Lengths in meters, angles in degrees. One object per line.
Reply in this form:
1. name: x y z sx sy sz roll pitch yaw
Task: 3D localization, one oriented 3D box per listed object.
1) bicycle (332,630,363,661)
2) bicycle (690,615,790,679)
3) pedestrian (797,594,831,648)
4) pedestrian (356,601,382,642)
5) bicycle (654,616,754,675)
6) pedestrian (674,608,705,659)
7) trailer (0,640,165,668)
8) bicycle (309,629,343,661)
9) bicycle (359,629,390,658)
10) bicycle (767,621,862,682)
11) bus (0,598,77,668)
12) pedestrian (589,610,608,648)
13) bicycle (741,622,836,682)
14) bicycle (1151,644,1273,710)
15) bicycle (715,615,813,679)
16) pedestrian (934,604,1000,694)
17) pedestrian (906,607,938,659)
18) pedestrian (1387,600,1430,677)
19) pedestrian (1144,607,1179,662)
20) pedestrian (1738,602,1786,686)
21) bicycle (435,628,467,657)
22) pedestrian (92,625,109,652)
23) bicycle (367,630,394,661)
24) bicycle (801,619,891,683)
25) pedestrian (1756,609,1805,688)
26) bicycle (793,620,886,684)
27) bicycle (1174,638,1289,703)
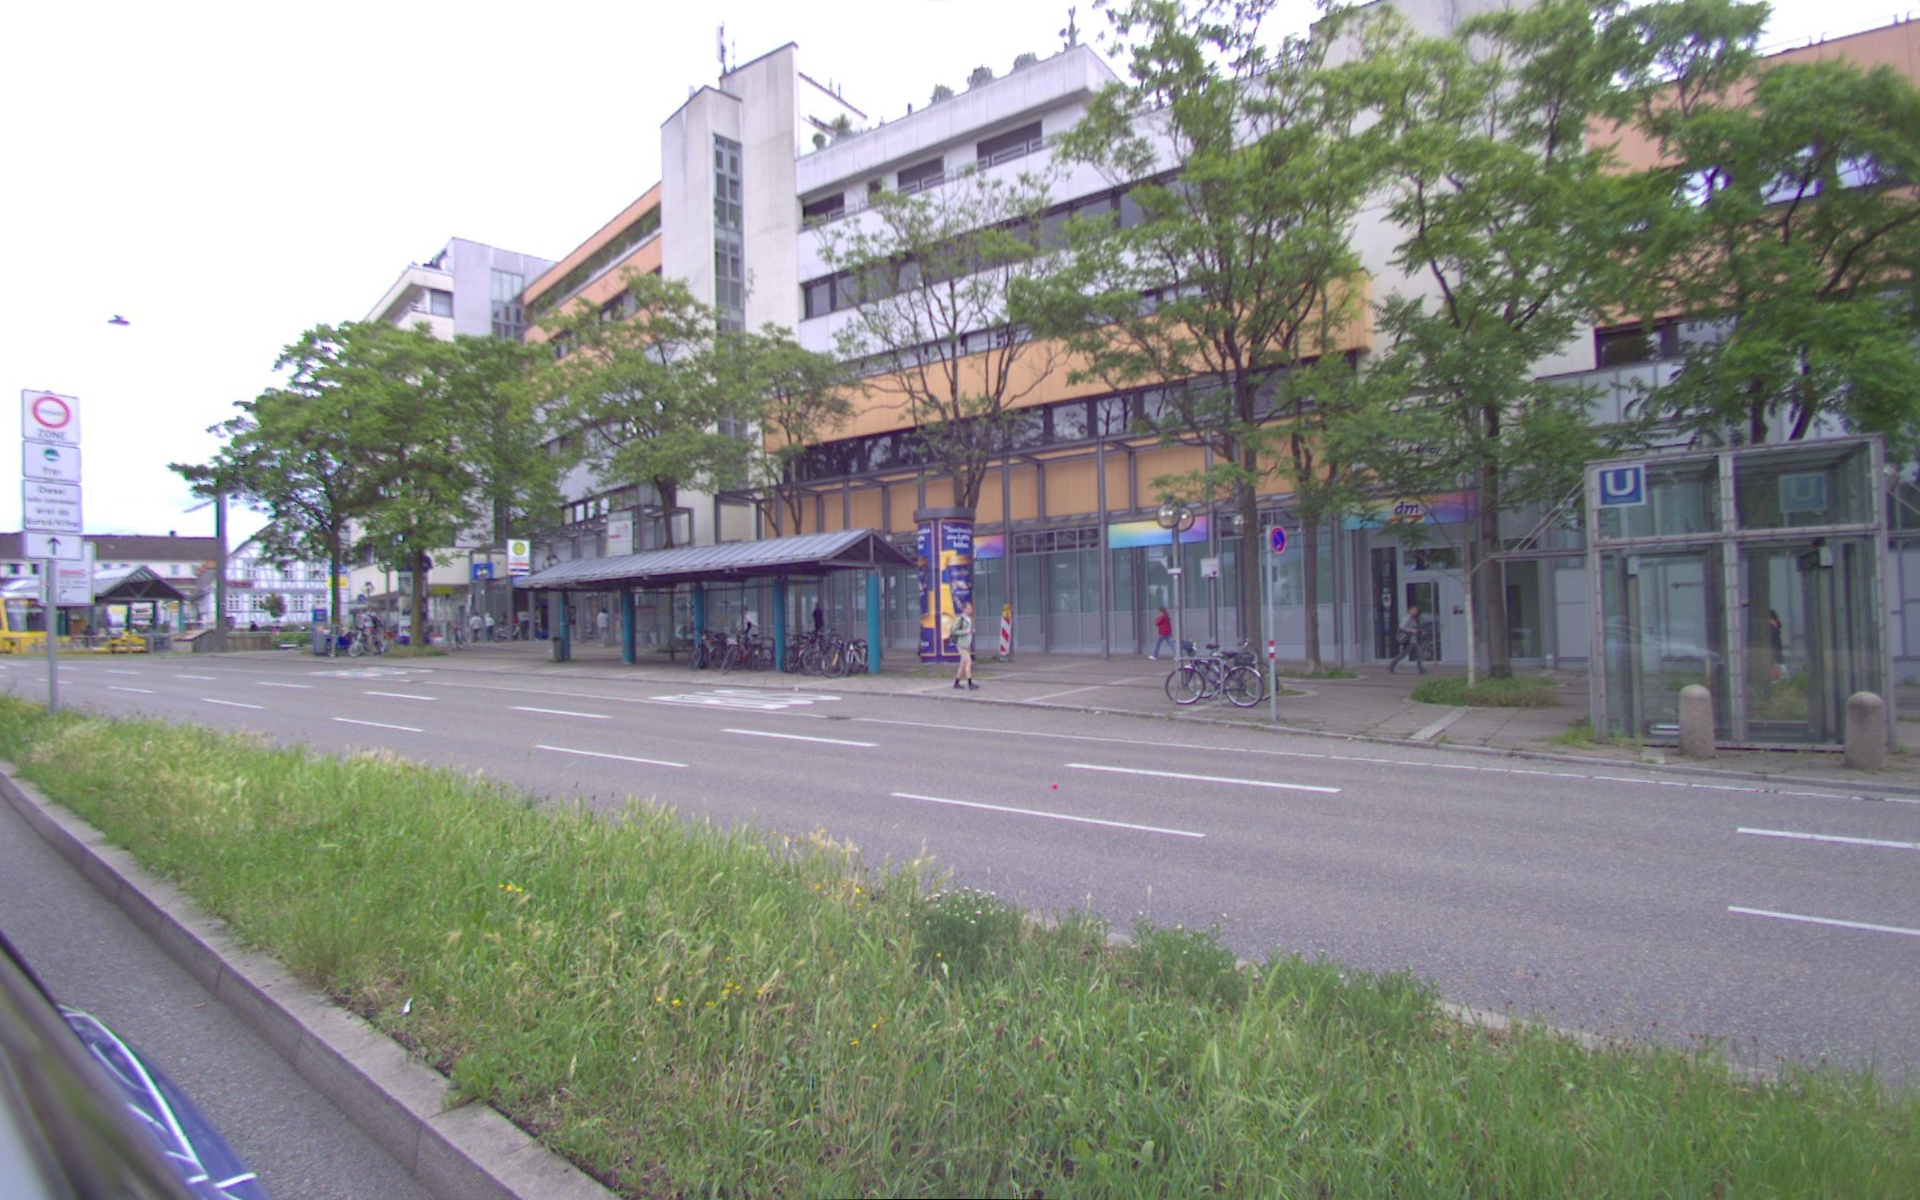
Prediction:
1. bicycle: -24.160 1.775 39.935 0.594 1.170 1.971 0 -2 -18
2. bicycle: -6.013 1.264 27.883 0.888 1.518 2.877 -2 1 32
3. pedestrian: -5.573 0.819 38.559 0.932 2.029 0.888 -1 -2 36
4. pedestrian: -27.560 1.001 47.170 0.871 1.891 0.738 -2 -2 32
5. bicycle: -7.248 1.270 28.884 0.969 1.518 2.877 -2 0 32
6. pedestrian: -9.446 1.152 35.334 0.763 1.729 0.789 -2 0 -32
7. trailer: -46.885 2.870 53.767 12.072 1.343 2.822 -2 -2 29
8. bicycle: -25.033 1.765 39.980 0.594 1.170 1.971 -2 0 -17
9. bicycle: -23.722 1.770 41.003 1.966 1.170 0.596 -3 -3 44
10. bicycle: -3.740 1.304 26.380 0.776 1.518 2.876 -2 -2 32
11. bus: -60.562 2.134 61.686 19.255 3.889 3.851 -2 -2 29
12. pedestrian: -15.624 1.242 43.747 0.623 1.612 0.624 -2 0 -32
13. bicycle: -4.529 1.357 26.970 0.803 1.518 2.876 -2 -2 32
14. bicycle: 4.434 1.335 17.830 1.926 1.092 0.825 -2 -2 27
15. bicycle: -5.272 1.232 27.431 0.809 1.518 2.876 -2 1 33
16. pedestrian: 0.147 1.025 21.659 1.212 1.836 0.697 -1 1 37
17. pedestrian: -1.183 1.031 31.626 0.705 1.595 0.660 -2 0 35
18. pedestrian: 10.557 0.895 23.791 0.787 1.729 0.764 -2 0 32
19. pedestrian: 5.887 1.007 29.571 0.822 1.598 0.629 -1 -2 31
20. pedestrian: 17.066 0.930 21.547 0.678 1.740 0.560 -2 -2 32
21. bicycle: -21.415 1.791 42.620 0.663 1.170 2.023 -1 -2 -11
22. pedestrian: -52.094 2.324 61.316 0.618 1.585 0.594 -2 -2 30
23. bicycle: -22.808 1.795 39.851 0.594 1.170 1.695 0 -2 -19
24. bicycle: -2.852 1.252 25.664 0.597 1.518 2.876 -2 -2 32
25. pedestrian: 16.931 0.992 20.890 0.678 1.601 0.513 -2 -2 32
26. bicycle: -3.020 1.286 25.772 0.698 1.518 2.876 -2 -2 32
27. bicycle: 5.022 1.297 18.764 1.946 1.145 0.709 -1 -2 26
